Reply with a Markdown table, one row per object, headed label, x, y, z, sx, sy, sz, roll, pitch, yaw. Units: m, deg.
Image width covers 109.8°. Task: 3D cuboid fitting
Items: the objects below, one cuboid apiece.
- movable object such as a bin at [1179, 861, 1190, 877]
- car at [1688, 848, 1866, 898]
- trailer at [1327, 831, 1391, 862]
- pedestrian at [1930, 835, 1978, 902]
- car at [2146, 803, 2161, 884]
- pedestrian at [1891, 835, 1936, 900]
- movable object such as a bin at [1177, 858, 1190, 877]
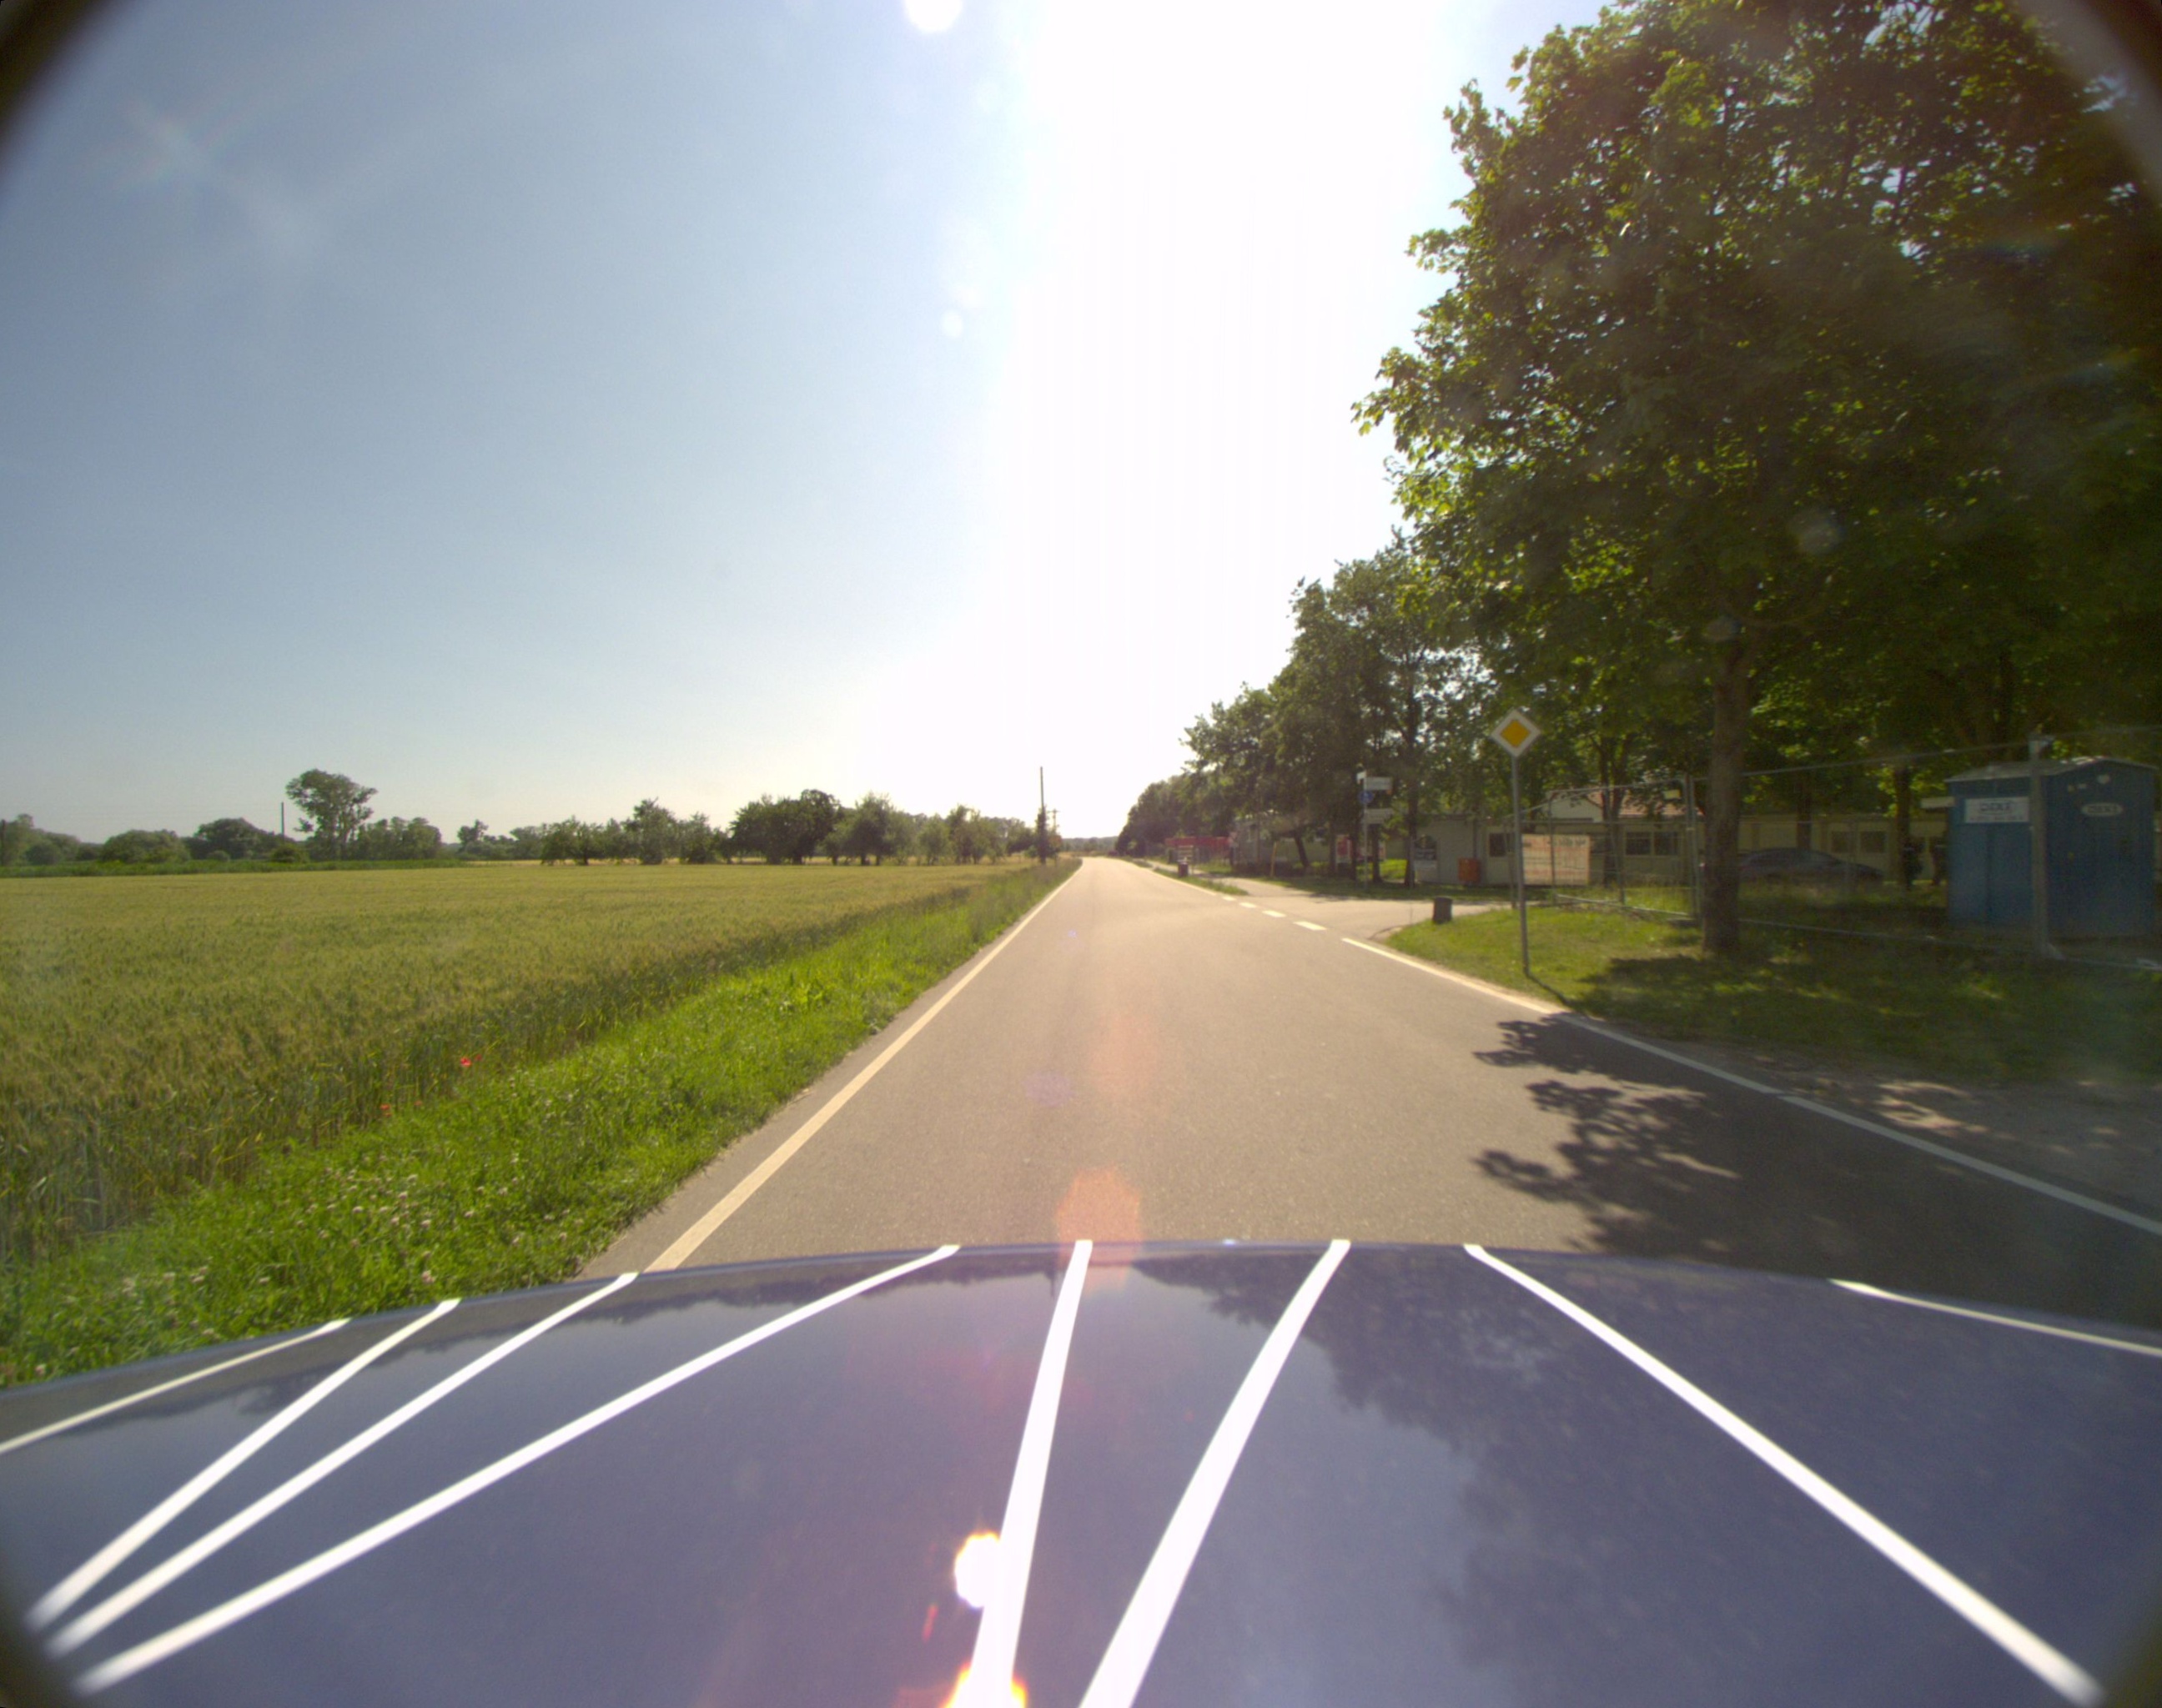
| label | x | y | z | sx | sy | sz | roll | pitch | yaw |
| --- | --- | --- | --- | --- | --- | --- | --- | --- | --- |
| movable object such as a bin | 5.675 | 0.837 | 41.601 | 0.563 | 0.872 | 0.614 | 0 | 1 | 9 |
| car | 20.247 | 0.523 | 22.194 | 3.811 | 1.391 | 1.758 | 0 | 1 | -6 |
| trailer | 21.119 | -0.578 | 57.739 | 4.239 | 2.264 | 1.826 | 0 | 1 | -12 |
| pedestrian | 22.881 | 0.374 | 19.916 | 0.605 | 1.741 | 0.586 | -1 | 1 | -8 |
| car | 37.062 | -0.350 | 23.193 | 6.074 | 2.563 | 2.121 | 0 | 1 | 0 |
| pedestrian | 22.772 | 0.365 | 20.797 | 0.605 | 1.741 | 0.586 | -1 | 1 | -8 |
| movable object such as a bin | 5.711 | 0.750 | 42.376 | 0.700 | 1.018 | 0.748 | 0 | 1 | 9 |
